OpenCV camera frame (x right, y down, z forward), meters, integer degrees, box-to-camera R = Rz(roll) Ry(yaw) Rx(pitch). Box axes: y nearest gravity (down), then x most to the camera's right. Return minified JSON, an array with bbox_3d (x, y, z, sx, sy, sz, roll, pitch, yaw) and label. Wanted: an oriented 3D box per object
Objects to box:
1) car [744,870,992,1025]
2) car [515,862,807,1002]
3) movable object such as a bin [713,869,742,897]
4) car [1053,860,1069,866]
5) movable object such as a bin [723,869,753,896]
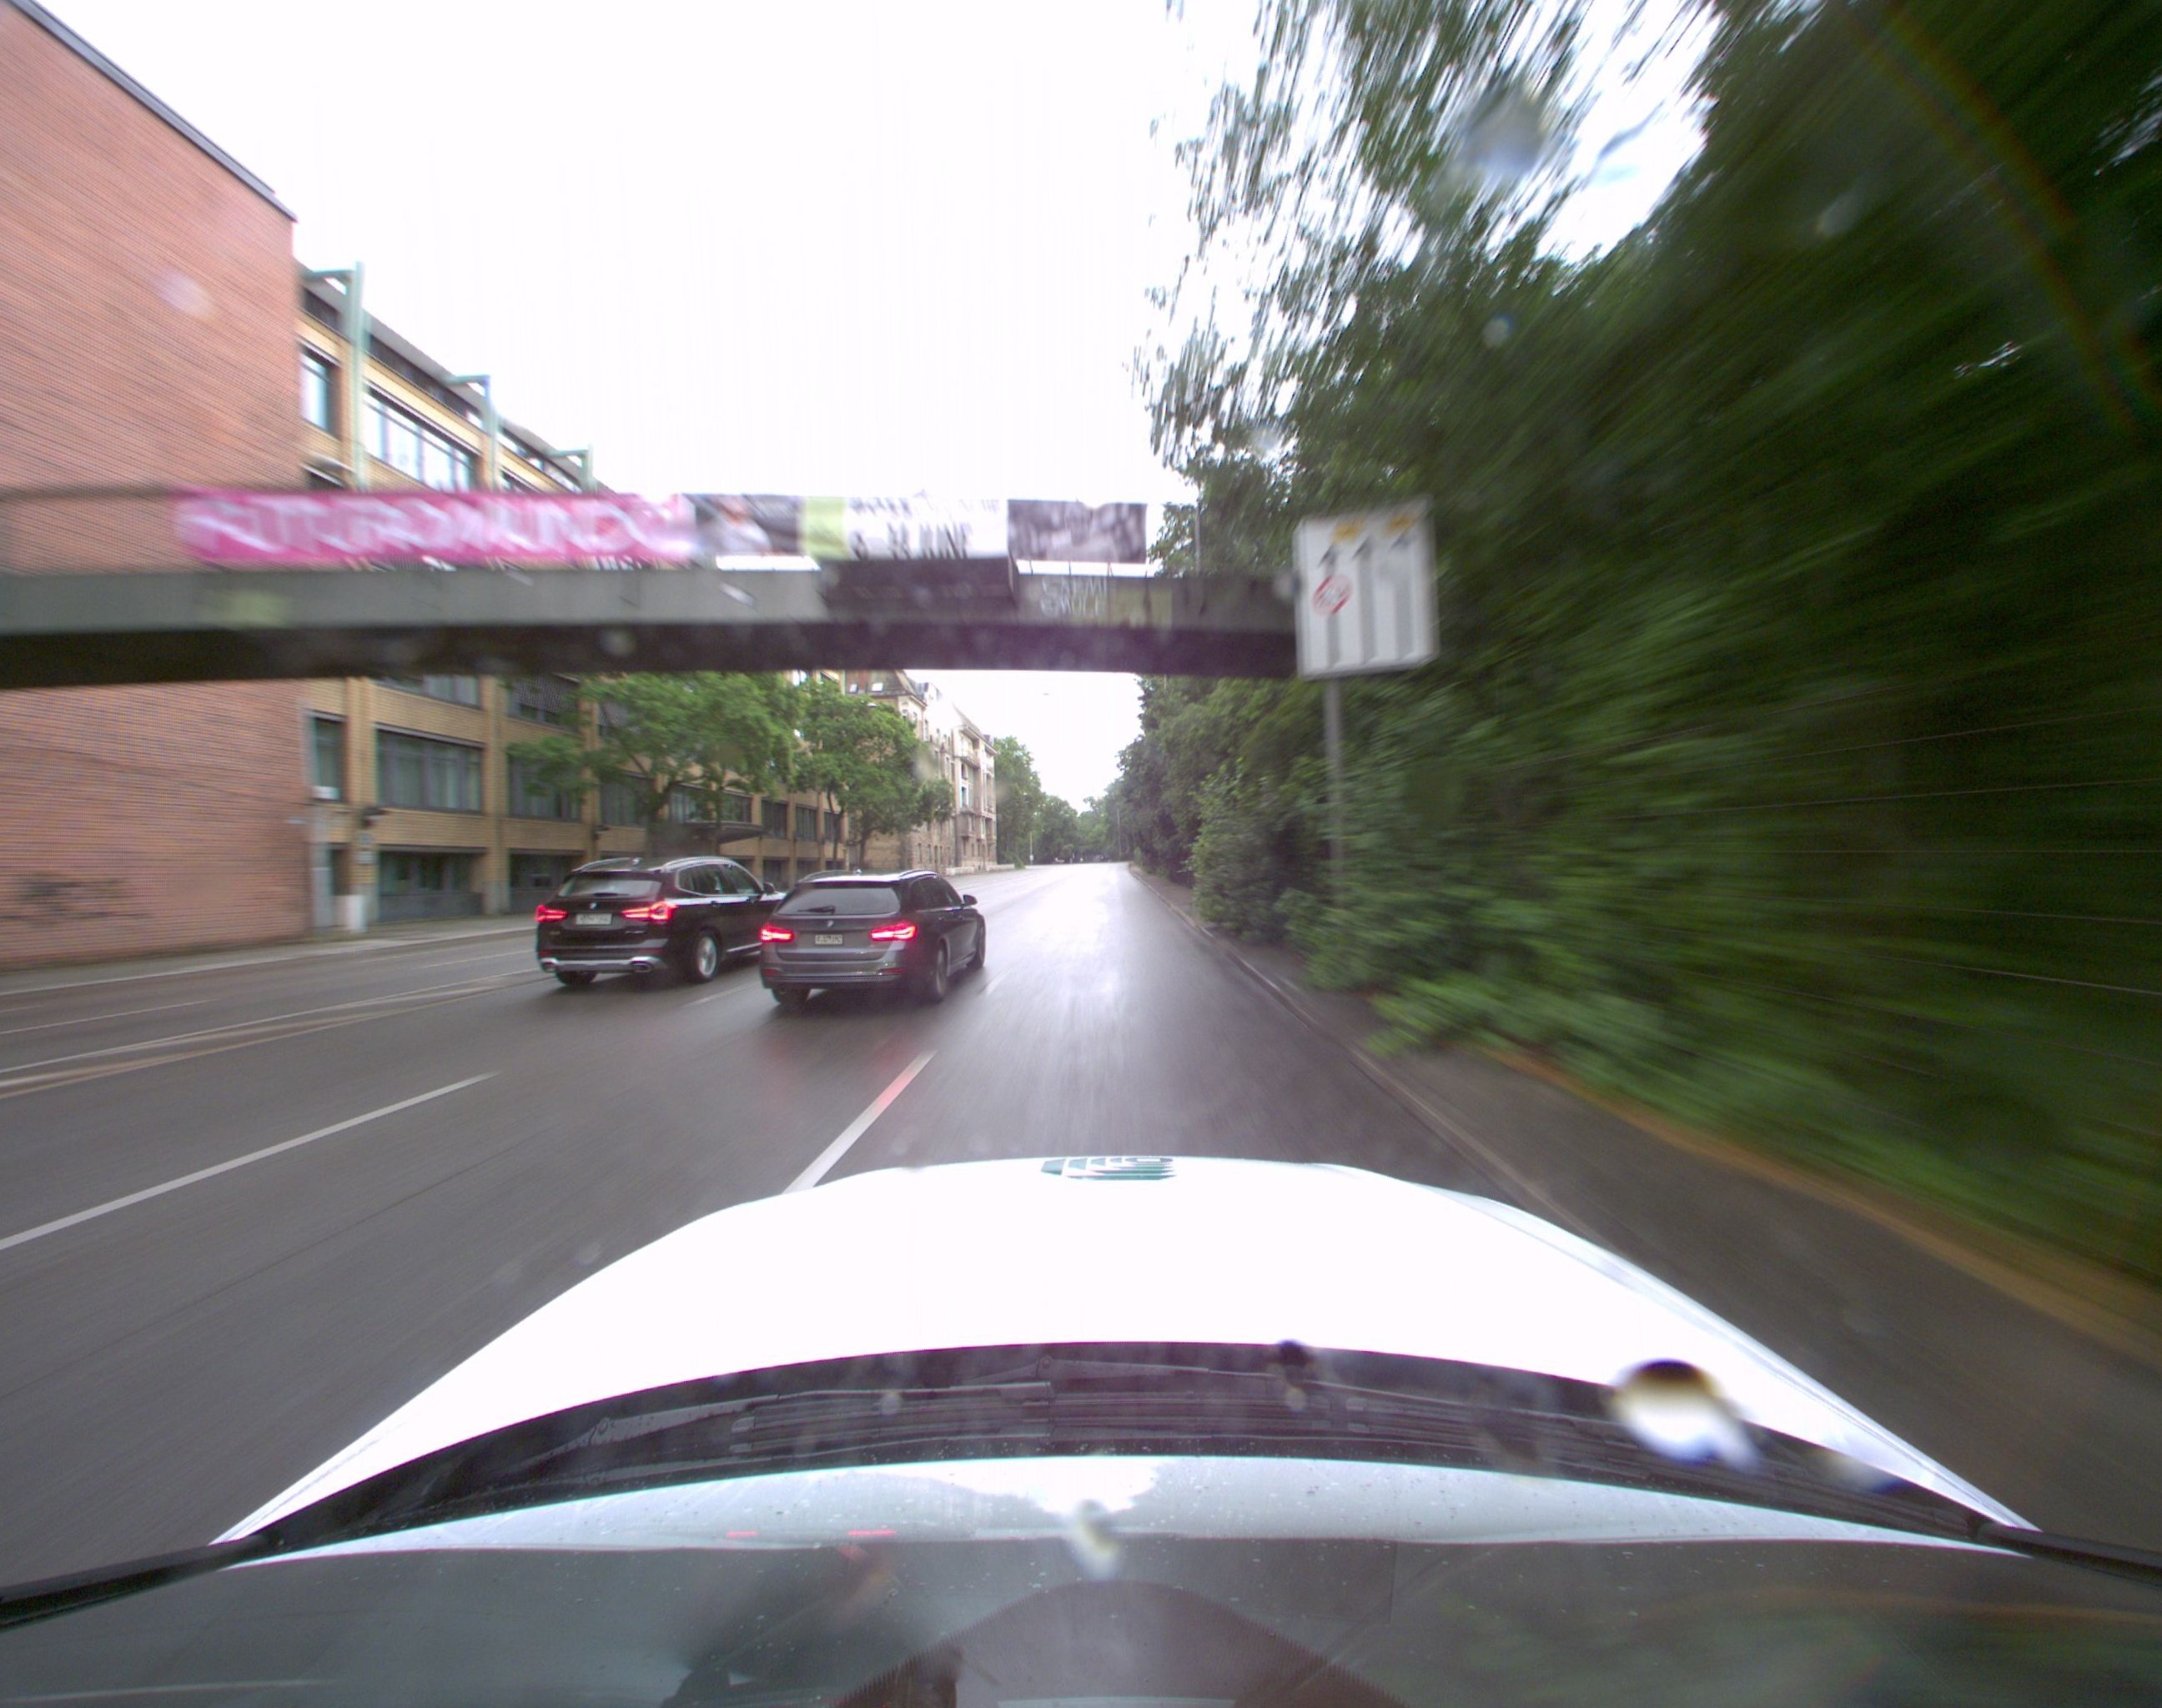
[{"bbox_3d":[-2.299,0.946,10.067,1.751,1.432,4.414,0,0,2],"label":"car"},{"bbox_3d":[-5.684,0.938,11.776,1.751,1.586,4.414,-2,0,2],"label":"car"},{"bbox_3d":[-18.861,1.544,43.474,0.970,1.436,1.313,-1,0,-2],"label":"movable object such as a bin"},{"bbox_3d":[-5.158,2.377,210.951,1.702,1.427,4.317,3,-4,-44],"label":"car"},{"bbox_3d":[-18.887,1.556,44.828,1.065,1.436,1.371,-1,0,-2],"label":"movable object such as a bin"}]
